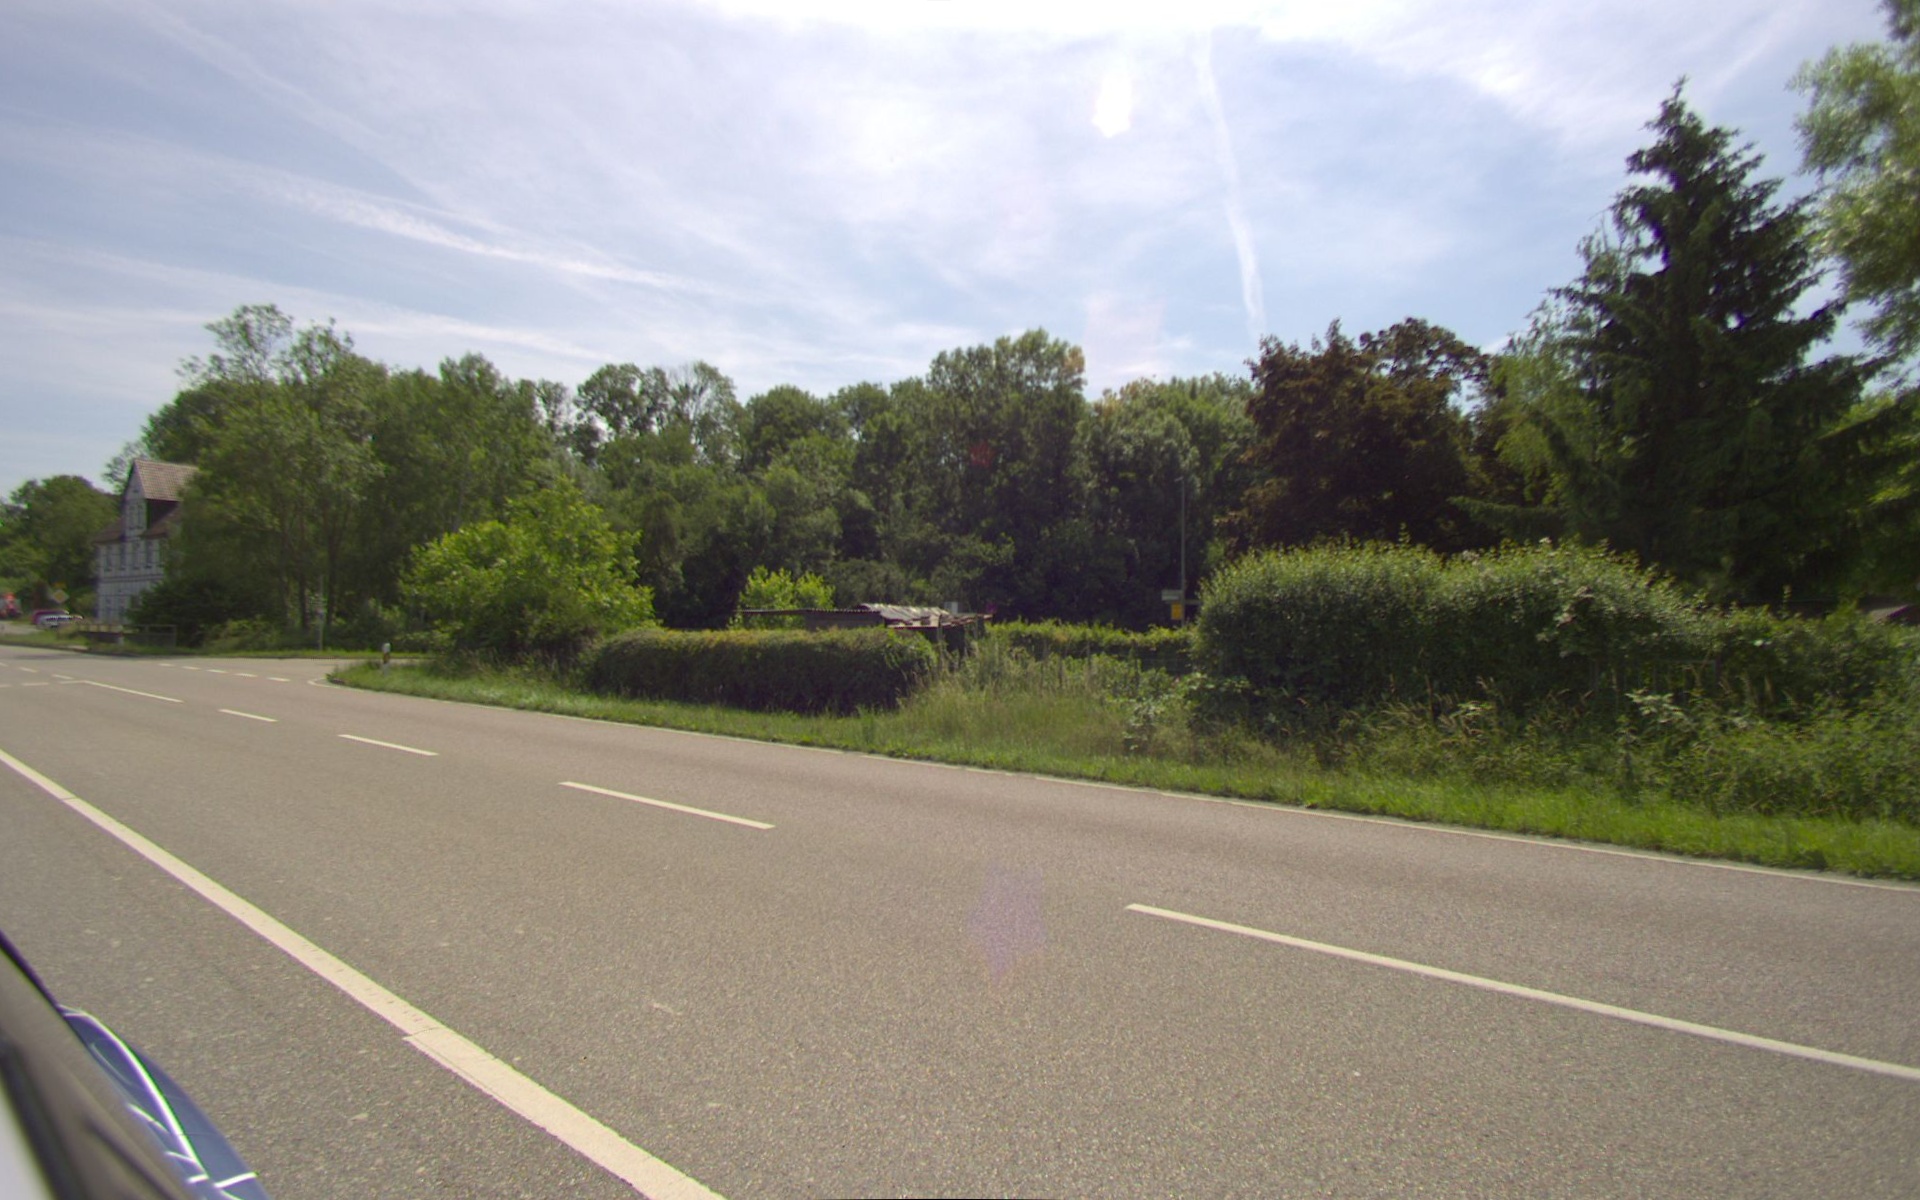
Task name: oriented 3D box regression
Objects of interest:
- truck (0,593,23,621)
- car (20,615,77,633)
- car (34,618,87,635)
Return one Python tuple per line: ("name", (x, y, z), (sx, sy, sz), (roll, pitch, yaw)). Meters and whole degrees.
("truck", (-105.918, 0.767, 112.312), (6.769, 2.986, 2.006), (1, 1, 40))
("car", (-89.456, 2.332, 99.343), (1.832, 1.631, 3.986), (1, 0, 40))
("car", (-82.163, 2.407, 92.428), (1.606, 1.476, 3.350), (0, 0, 33))
